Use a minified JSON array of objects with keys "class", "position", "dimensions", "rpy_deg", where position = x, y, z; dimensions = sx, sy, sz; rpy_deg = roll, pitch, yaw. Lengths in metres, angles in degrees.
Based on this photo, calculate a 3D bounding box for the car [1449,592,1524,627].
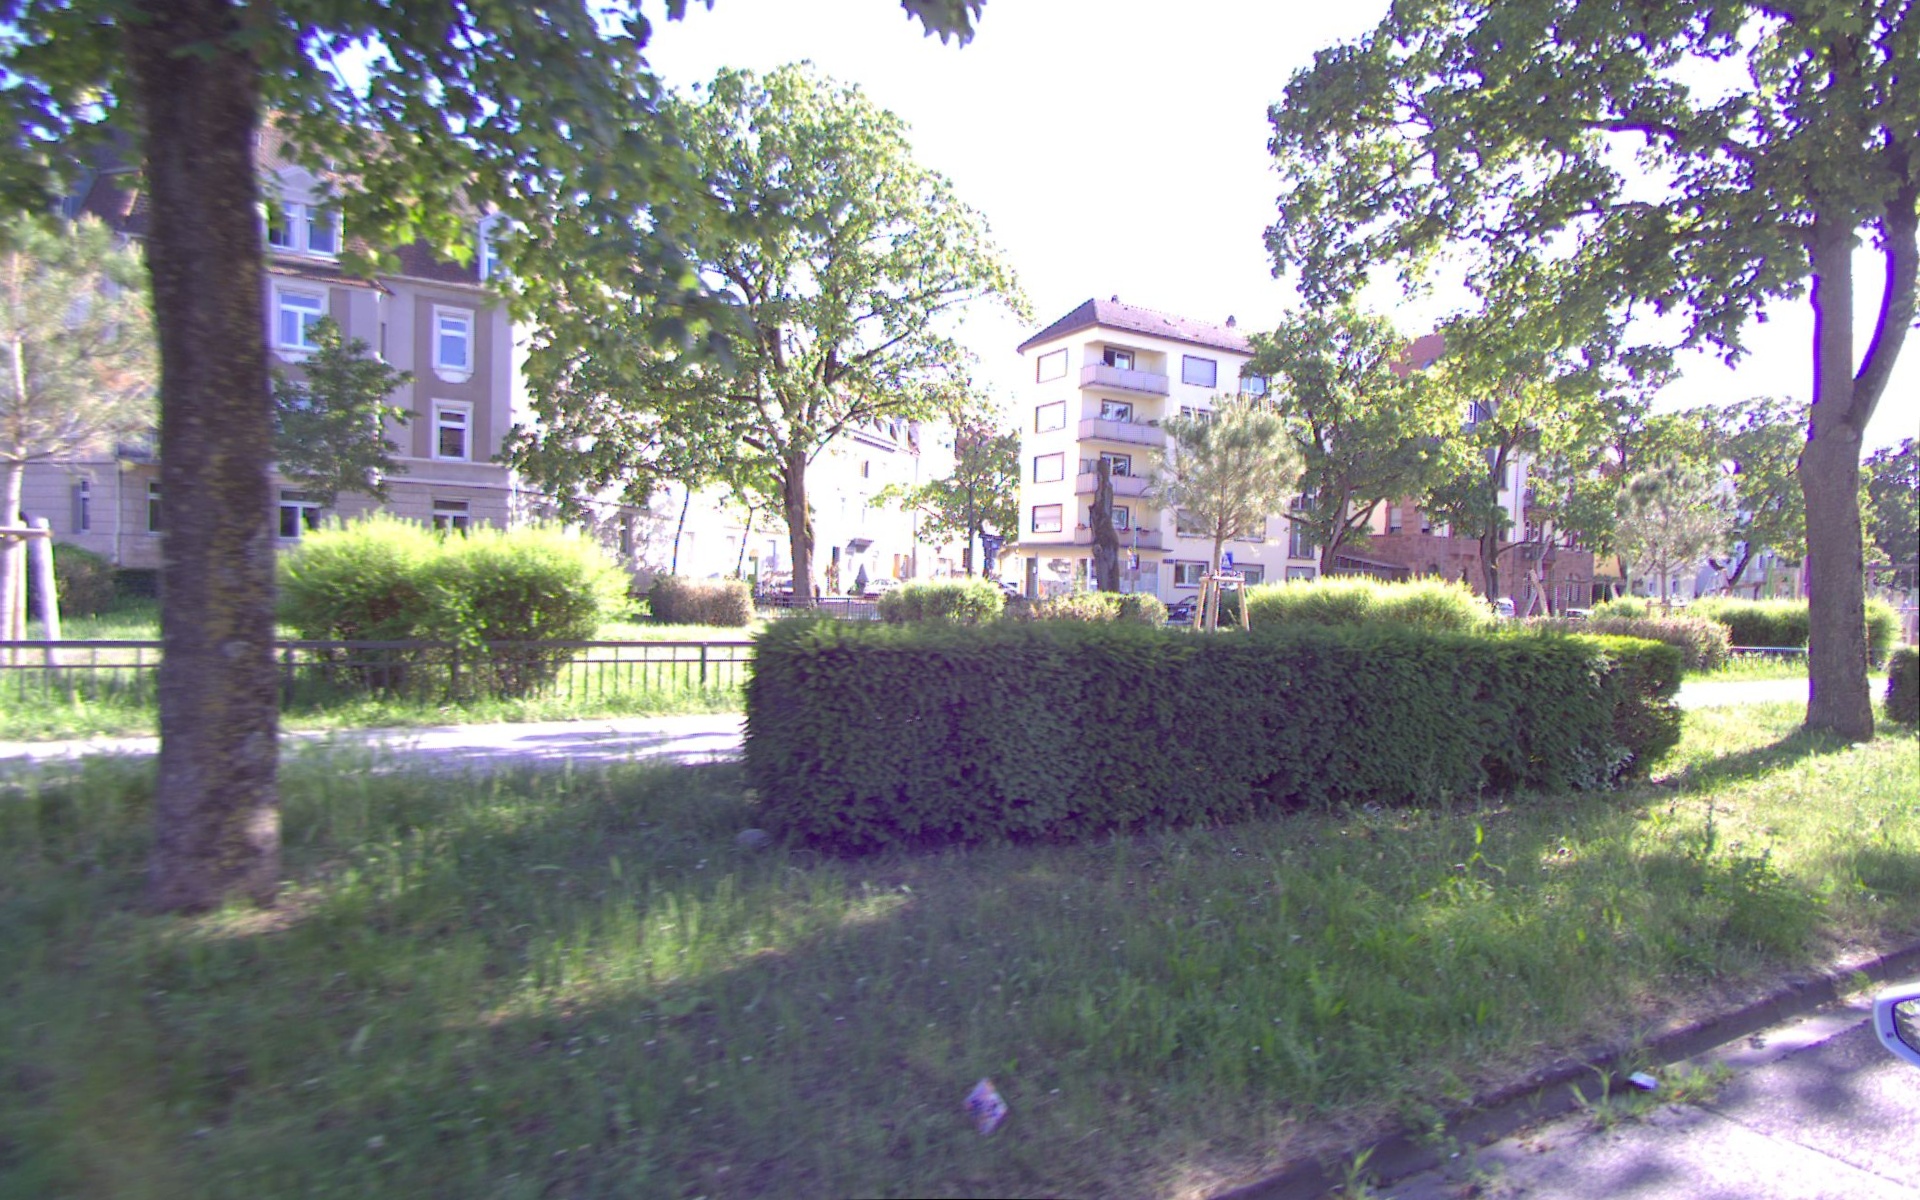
[{"class":"car","position":[33.070,0.587,63.013],"dimensions":[4.776,2.009,1.786],"rpy_deg":[1,2,-29]}]

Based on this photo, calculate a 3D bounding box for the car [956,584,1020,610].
[{"class":"car","position":[1.724,-0.220,62.843],"dimensions":[1.787,1.530,3.950],"rpy_deg":[2,0,-42]}]

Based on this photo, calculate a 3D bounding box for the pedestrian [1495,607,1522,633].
[{"class":"pedestrian","position":[21.731,0.804,39.781],"dimensions":[0.766,0.992,0.540],"rpy_deg":[1,1,-22]}]

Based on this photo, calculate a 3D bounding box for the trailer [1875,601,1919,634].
[{"class":"trailer","position":[90.783,1.697,96.689],"dimensions":[5.734,2.909,2.332],"rpy_deg":[1,2,-30]}]
